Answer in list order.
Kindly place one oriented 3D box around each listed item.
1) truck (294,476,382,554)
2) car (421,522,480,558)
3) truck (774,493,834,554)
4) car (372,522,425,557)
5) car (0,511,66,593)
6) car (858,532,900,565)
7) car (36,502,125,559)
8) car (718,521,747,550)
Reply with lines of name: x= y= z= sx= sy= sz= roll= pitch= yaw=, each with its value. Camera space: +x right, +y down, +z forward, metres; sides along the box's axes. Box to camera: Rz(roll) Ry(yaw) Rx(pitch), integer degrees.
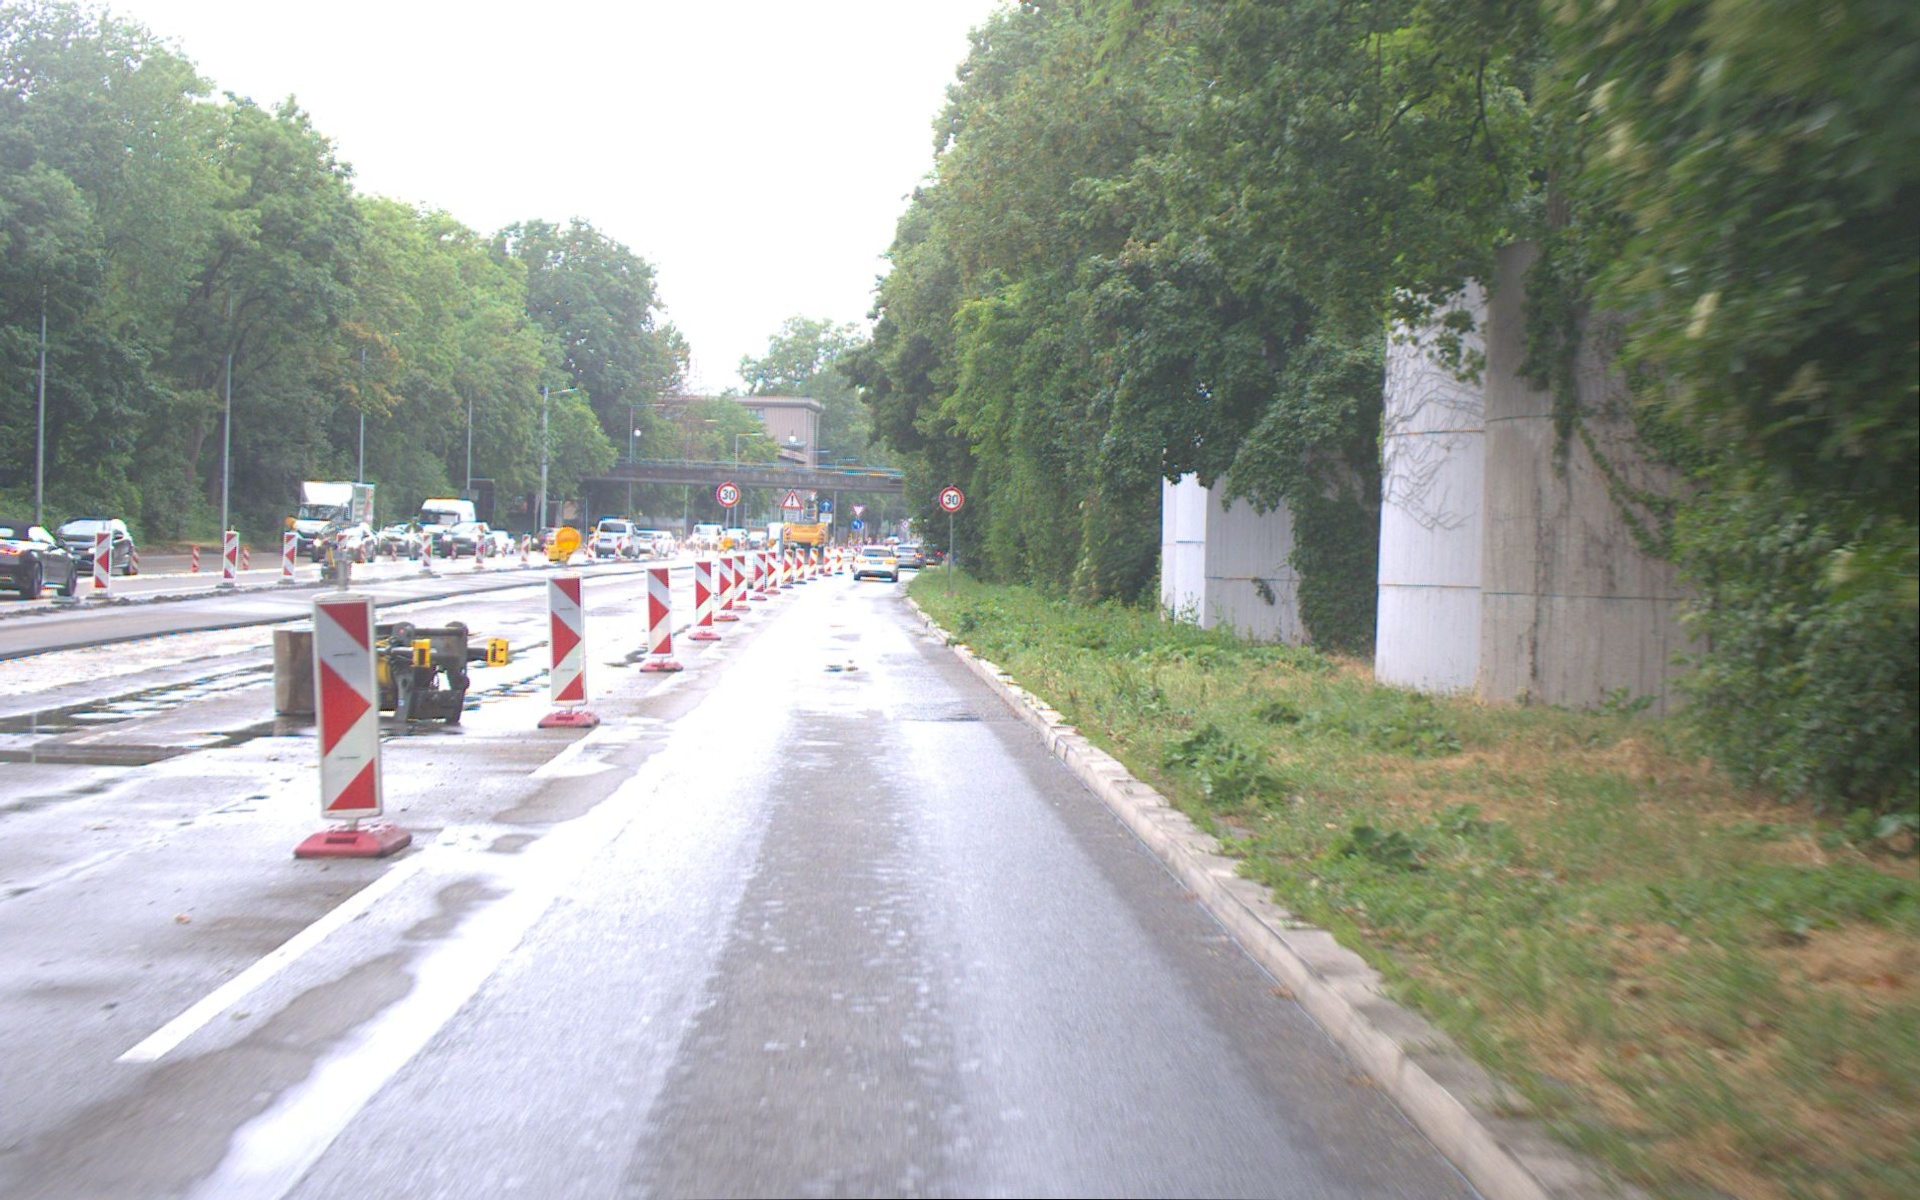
truck: x=-24.628 y=-3.365 z=136.381 sx=2.246 sy=2.930 sz=6.935 roll=1 pitch=1 yaw=-1
car: x=-22.528 y=-2.648 z=152.070 sx=1.959 sy=1.526 sz=4.437 roll=1 pitch=1 yaw=-1
truck: x=-9.326 y=-4.591 z=206.666 sx=3.259 sy=3.485 sz=13.872 roll=1 pitch=1 yaw=-2
car: x=-24.781 y=-2.692 z=151.771 sx=1.670 sy=1.480 sz=4.320 roll=1 pitch=1 yaw=-1
car: x=-17.354 y=-0.888 z=61.897 sx=1.607 sy=1.399 sz=4.041 roll=1 pitch=1 yaw=-3
car: x=-3.333 y=-2.123 z=141.758 sx=1.697 sy=1.331 sz=3.491 roll=-1 pitch=1 yaw=-1
car: x=-21.717 y=-1.720 z=85.008 sx=1.447 sy=1.327 sz=3.862 roll=1 pitch=1 yaw=-4
car: x=-15.125 y=-4.322 z=228.889 sx=1.670 sy=1.802 sz=4.321 roll=1 pitch=2 yaw=-1
